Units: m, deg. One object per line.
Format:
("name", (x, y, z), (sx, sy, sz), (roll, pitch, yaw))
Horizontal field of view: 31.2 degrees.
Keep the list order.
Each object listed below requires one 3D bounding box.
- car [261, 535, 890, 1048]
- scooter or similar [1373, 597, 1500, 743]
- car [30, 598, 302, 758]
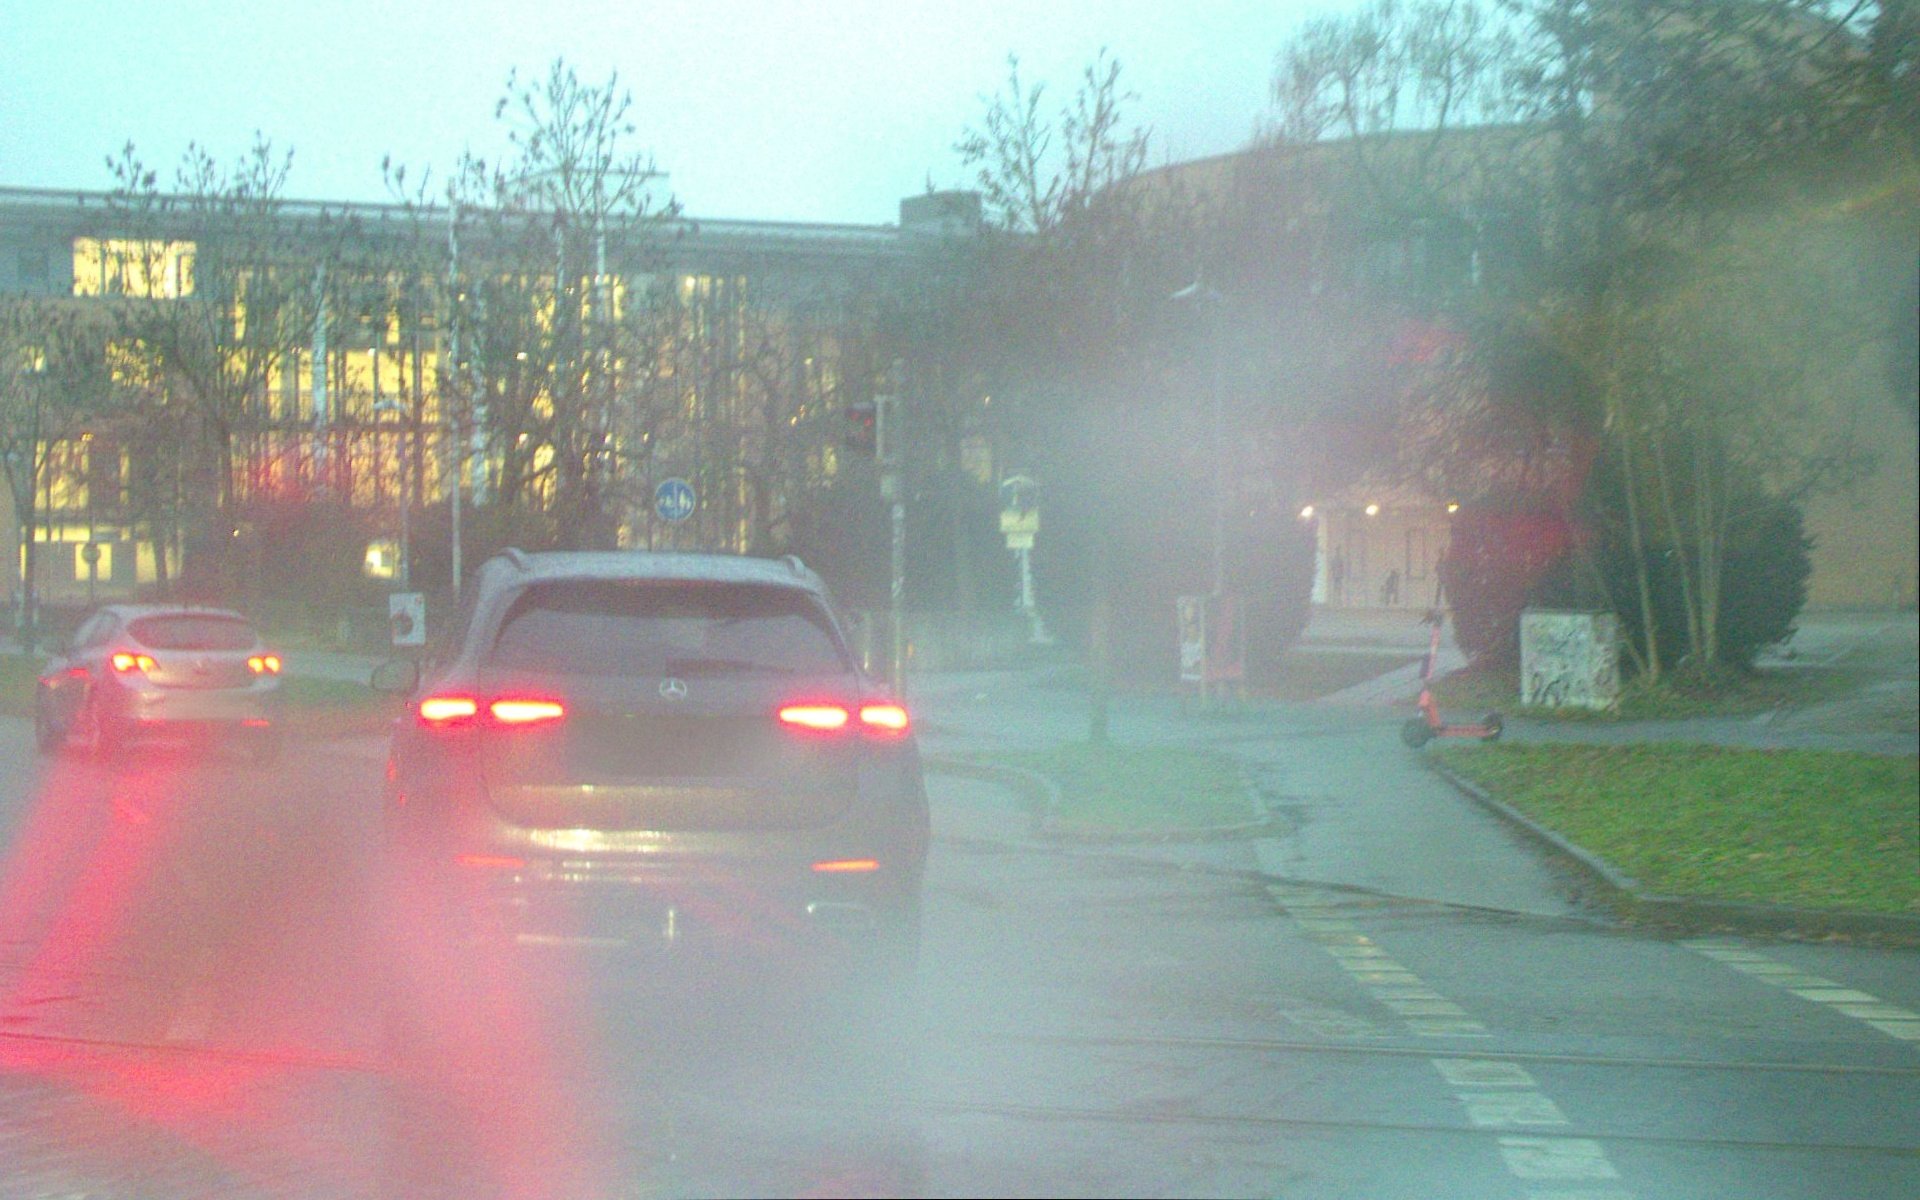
("car", (-1.448, 0.585, 13.093), (1.990, 1.610, 4.001), (-1, 1, -6))
("scooter or similar", (4.155, 0.599, 29.935), (1.142, 1.227, 0.487), (-1, 1, -44))
("car", (-7.861, 0.711, 33.785), (1.993, 1.403, 4.001), (-1, 1, -22))
